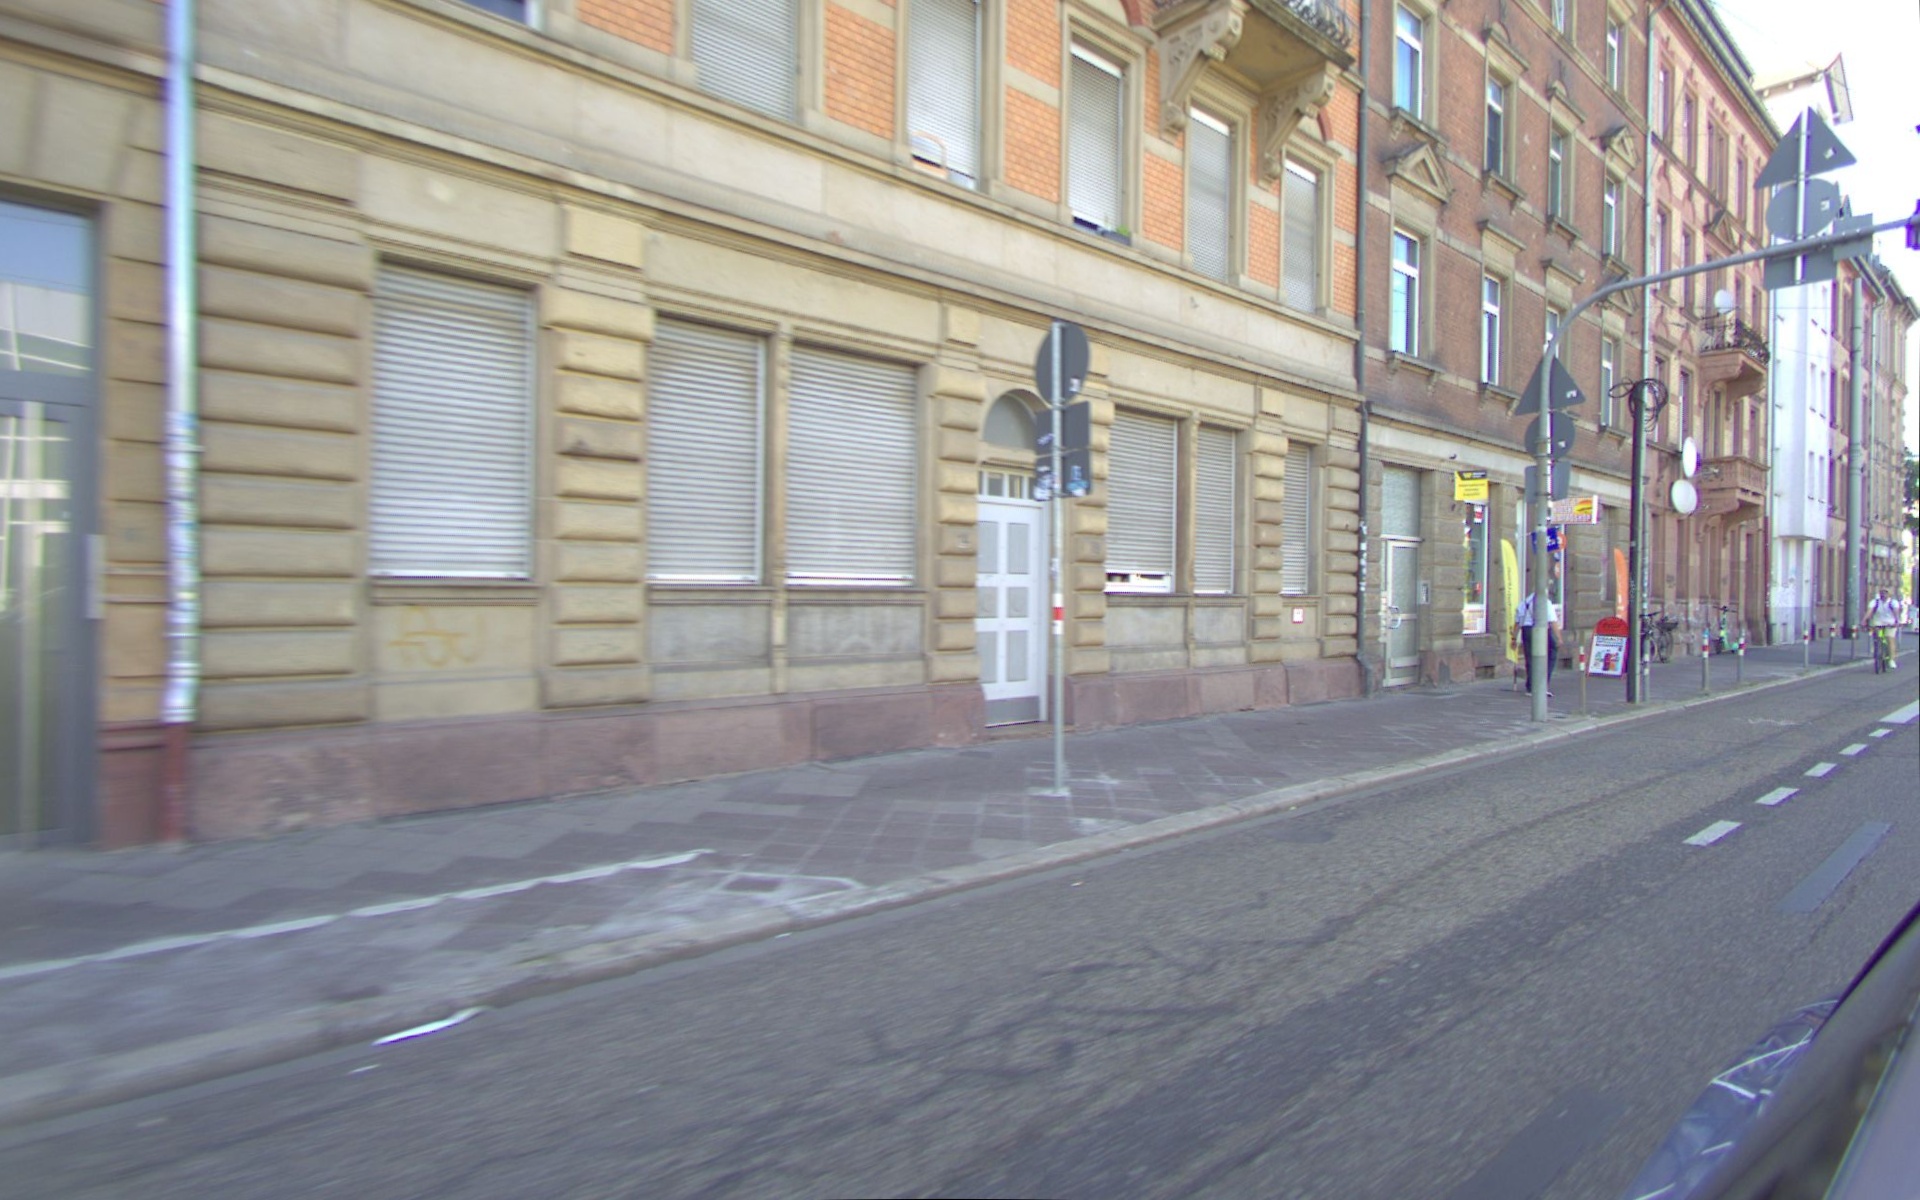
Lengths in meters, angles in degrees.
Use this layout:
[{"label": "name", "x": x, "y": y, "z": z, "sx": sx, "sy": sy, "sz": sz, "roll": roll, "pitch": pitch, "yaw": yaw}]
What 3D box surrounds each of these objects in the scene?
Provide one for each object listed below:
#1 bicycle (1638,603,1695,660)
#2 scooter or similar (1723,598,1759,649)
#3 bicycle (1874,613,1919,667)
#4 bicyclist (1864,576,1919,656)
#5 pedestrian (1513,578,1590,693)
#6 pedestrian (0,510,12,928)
[{"label": "bicycle", "x": 15.317, "y": 0.662, "z": 21.914, "sx": 1.862, "sy": 1.135, "sz": 0.411, "roll": -1, "pitch": 2, "yaw": -37}, {"label": "scooter or similar", "x": 19.898, "y": 0.581, "z": 25.786, "sx": 1.454, "sy": 1.226, "sz": 0.407, "roll": -1, "pitch": 2, "yaw": -40}, {"label": "bicycle", "x": 20.433, "y": 0.845, "z": 22.036, "sx": 1.899, "sy": 1.132, "sz": 0.532, "roll": 1, "pitch": -2, "yaw": -41}, {"label": "bicyclist", "x": 20.509, "y": 0.341, "z": 22.056, "sx": 1.096, "sy": 1.705, "sz": 0.684, "roll": -1, "pitch": -1, "yaw": -17}, {"label": "pedestrian", "x": 8.630, "y": 0.486, "z": 14.775, "sx": 0.640, "sy": 1.625, "sz": 0.800, "roll": 0, "pitch": 1, "yaw": -38}, {"label": "pedestrian", "x": -4.163, "y": 0.499, "z": 3.919, "sx": 0.464, "sy": 1.721, "sz": 0.555, "roll": 1, "pitch": 2, "yaw": -4}]
